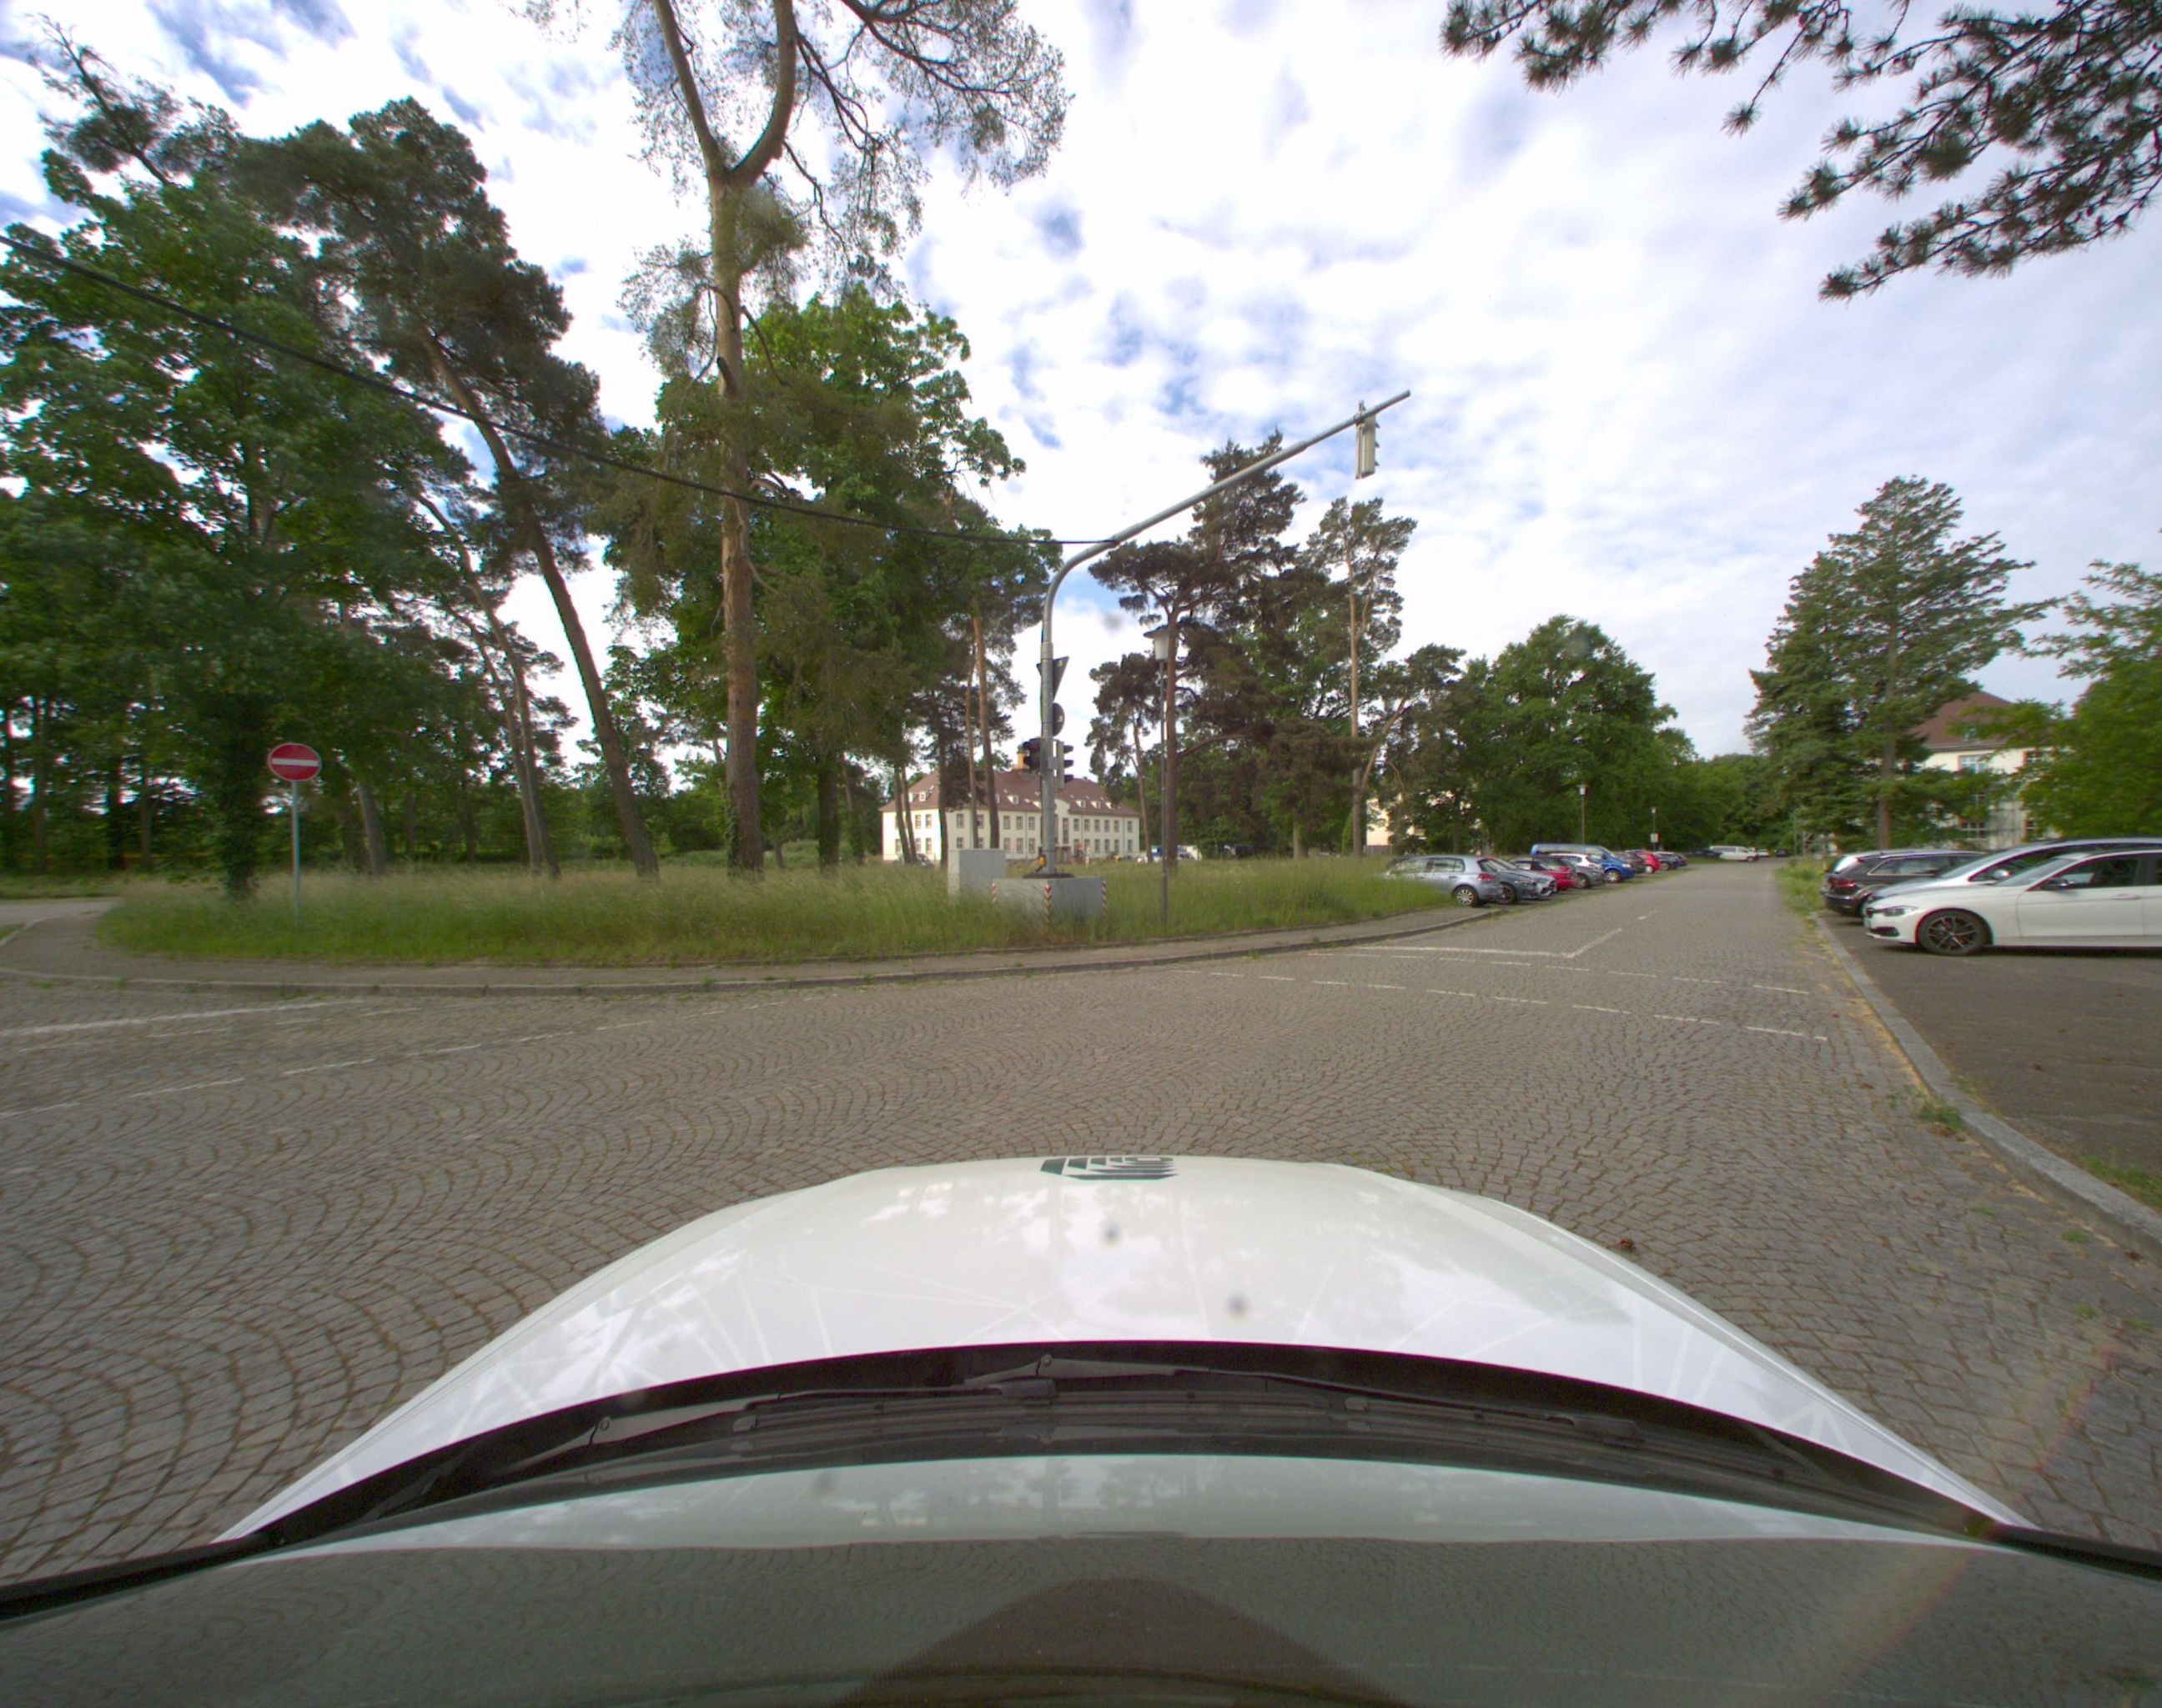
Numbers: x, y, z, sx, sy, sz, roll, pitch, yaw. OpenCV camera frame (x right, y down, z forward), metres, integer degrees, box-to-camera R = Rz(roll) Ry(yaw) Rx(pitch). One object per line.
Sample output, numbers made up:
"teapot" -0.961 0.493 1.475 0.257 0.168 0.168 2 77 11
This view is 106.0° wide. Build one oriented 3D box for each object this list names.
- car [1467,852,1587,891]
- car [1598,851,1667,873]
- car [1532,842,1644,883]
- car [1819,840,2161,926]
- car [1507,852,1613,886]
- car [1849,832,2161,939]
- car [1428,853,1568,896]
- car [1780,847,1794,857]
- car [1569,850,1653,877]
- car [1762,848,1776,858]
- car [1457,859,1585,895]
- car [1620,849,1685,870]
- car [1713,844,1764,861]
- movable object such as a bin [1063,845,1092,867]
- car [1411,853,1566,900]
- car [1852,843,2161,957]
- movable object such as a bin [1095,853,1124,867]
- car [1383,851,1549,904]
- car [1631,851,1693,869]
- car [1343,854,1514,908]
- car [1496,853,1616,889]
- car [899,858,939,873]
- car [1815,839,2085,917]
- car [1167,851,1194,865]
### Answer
"car" 18.444 0.678 33.758 4.049 1.480 1.766 0 0 42
"car" 38.403 0.520 56.717 3.779 1.489 1.799 0 0 40
"car" 26.028 0.399 41.894 4.664 1.980 2.051 0 0 40
"car" 17.124 0.590 15.554 4.323 1.406 1.808 -4 -2 39
"car" 22.322 0.669 38.051 3.967 1.501 1.854 0 0 42
"car" 15.644 0.521 13.259 4.286 1.575 1.838 -4 -3 36
"car" 15.208 0.699 29.819 4.213 1.455 1.867 0 0 41
"car" 130.447 -0.278 150.402 1.773 1.720 4.086 -1 -2 39
"car" 31.728 0.545 48.767 4.029 1.575 1.967 0 0 40
"car" 128.276 -0.206 151.861 1.773 1.636 4.086 -1 -2 39
"car" 16.956 0.834 31.477 4.092 1.283 1.775 0 0 41
"car" 45.218 0.399 64.458 4.032 1.604 1.799 0 0 39
"car" 83.171 -0.199 103.020 4.930 2.072 2.065 0 -1 40
"movable object such as a bin" -0.610 0.349 140.111 2.149 3.642 6.073 1 -2 -32
"car" 13.878 0.720 27.898 4.395 1.455 1.961 0 0 42
"car" 13.955 0.612 11.292 4.505 1.426 1.838 -4 -3 38
"movable object such as a bin" 4.740 0.994 137.432 2.393 2.254 4.466 2 -2 -44
"car" 12.151 0.682 25.818 4.458 1.537 1.882 0 0 38
"car" 48.437 0.482 67.923 4.034 1.467 1.635 0 0 44
"car" 10.176 0.738 24.031 4.288 1.470 1.838 0 -1 42
"car" 20.709 0.697 35.633 4.264 1.480 1.741 0 0 42
"car" -24.121 1.705 121.082 5.749 2.115 2.385 -1 -2 32
"car" 18.685 0.545 17.799 3.735 1.480 1.754 -4 -2 38
"car" 15.409 0.642 126.338 2.042 2.095 4.372 -2 -3 40
